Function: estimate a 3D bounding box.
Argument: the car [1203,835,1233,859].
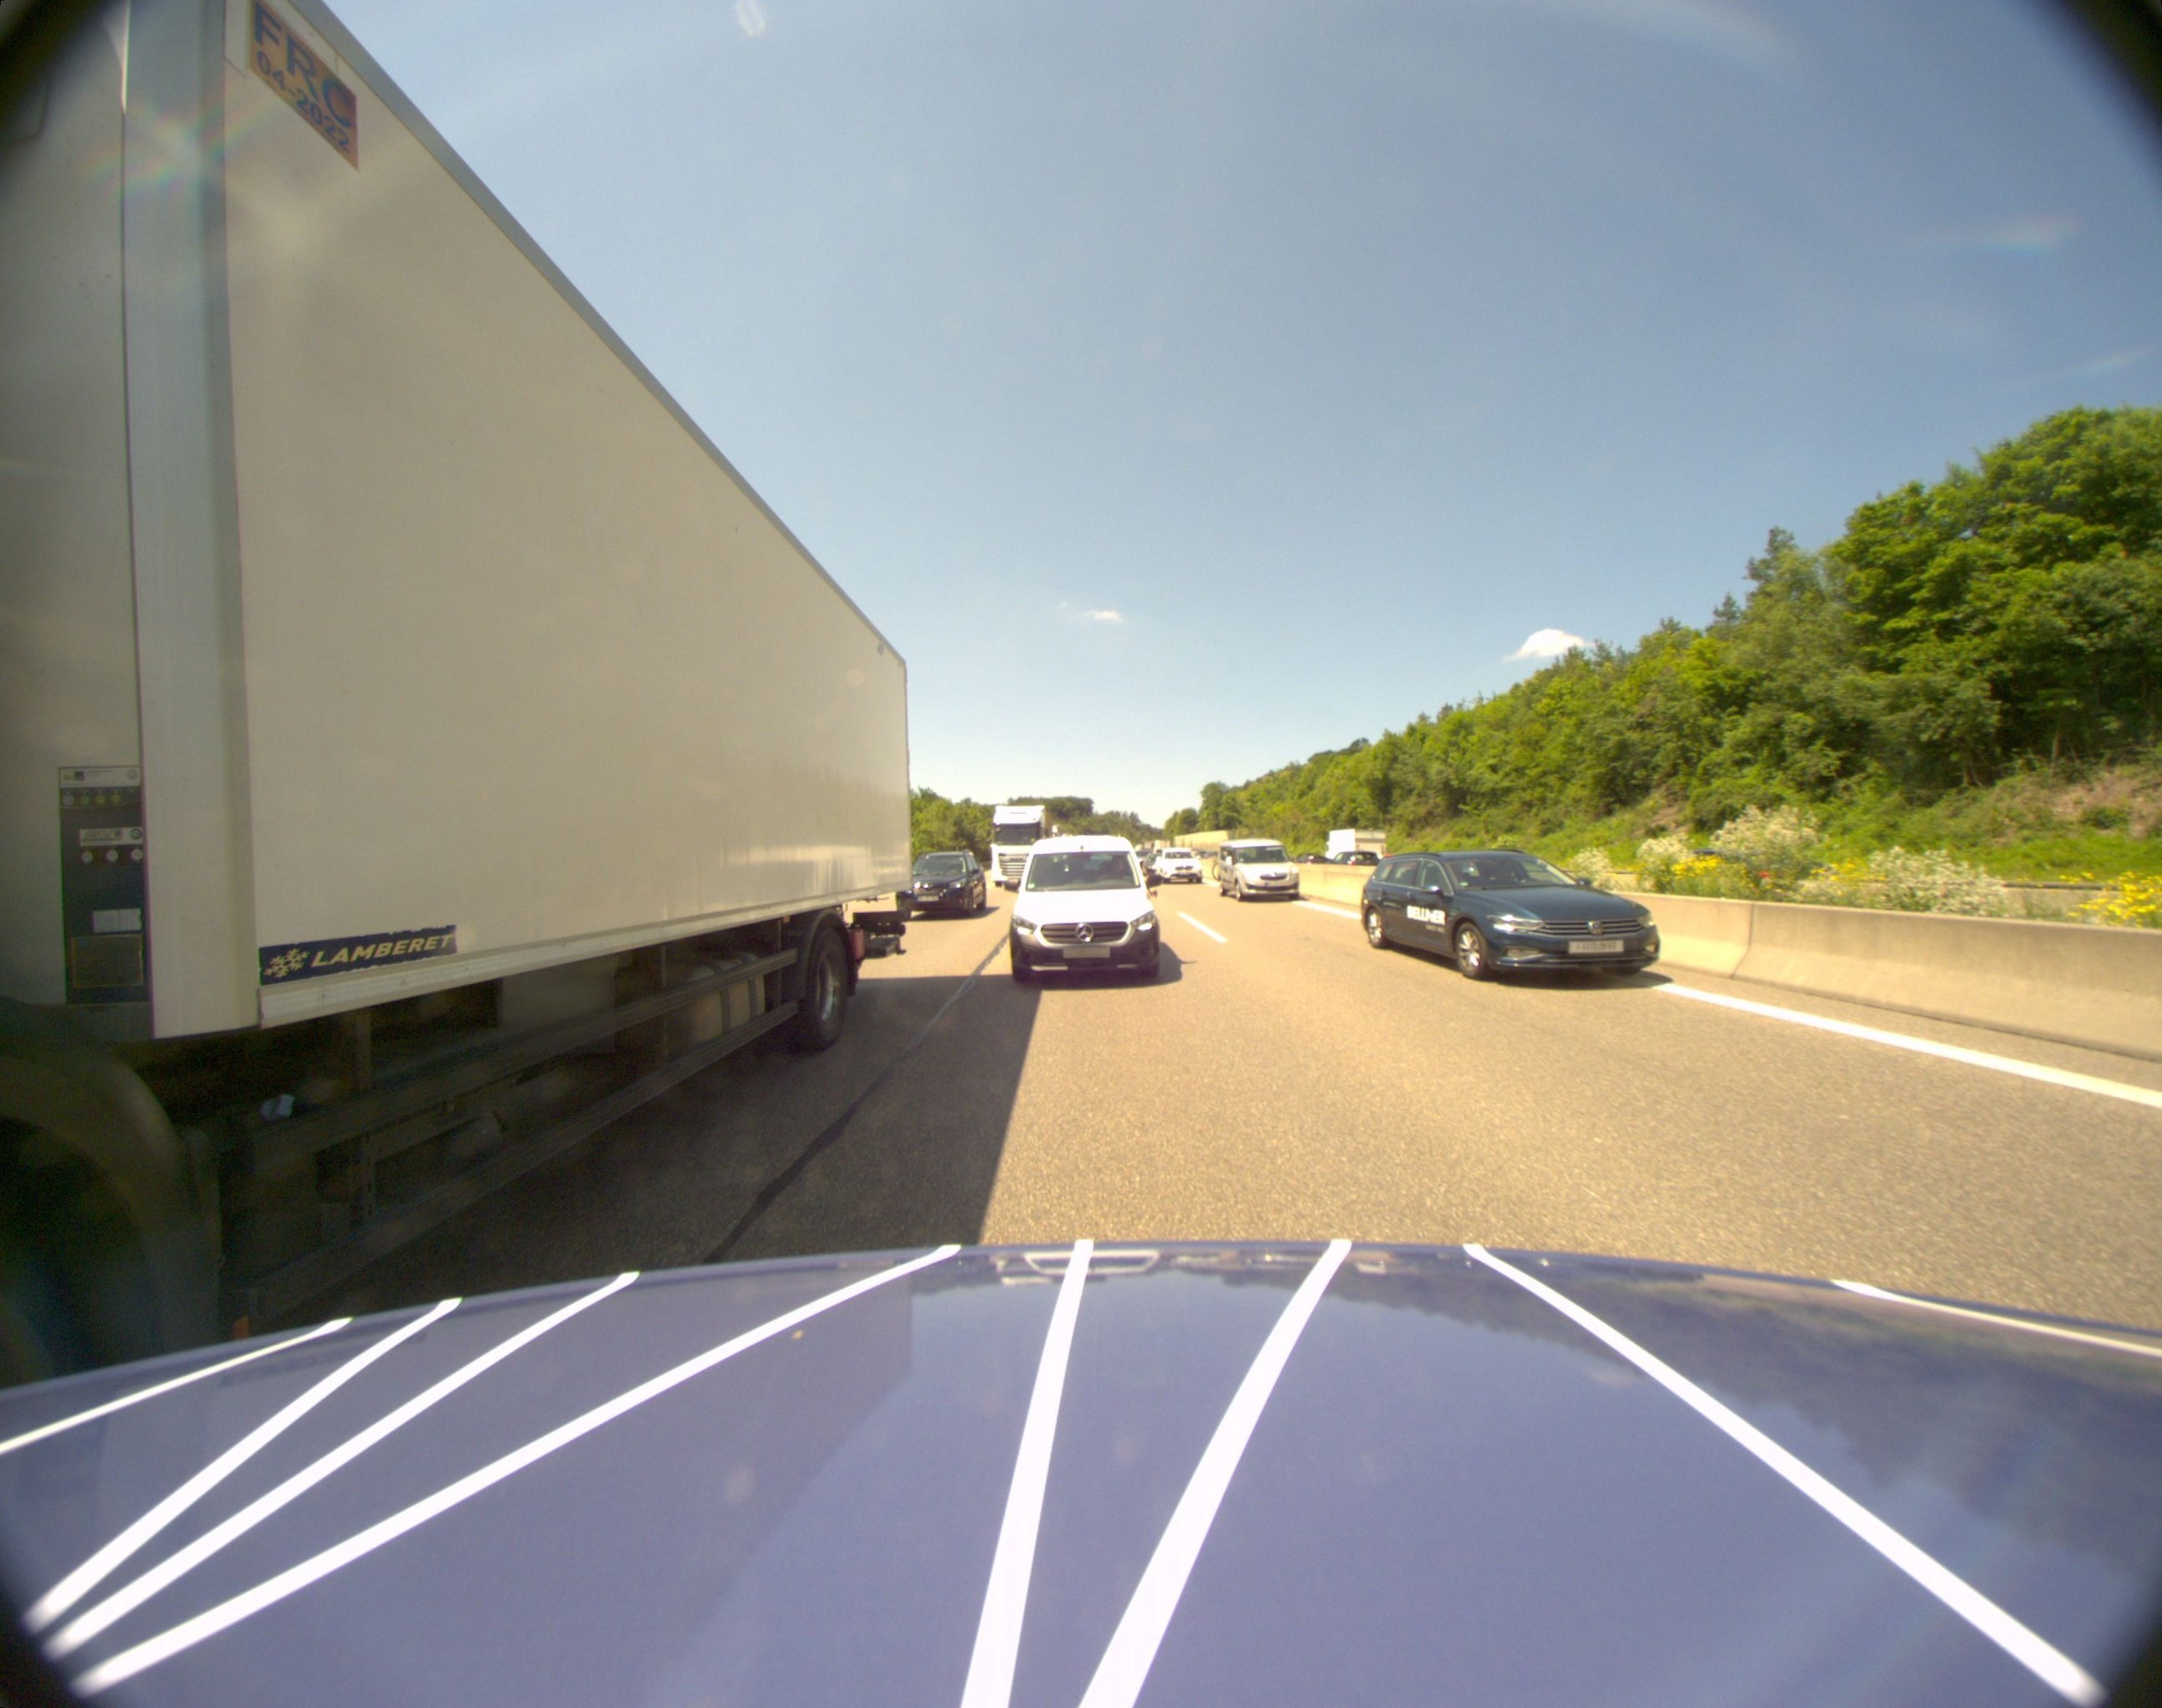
[{"bbox_3d":[12.143,-0.625,67.554,1.998,2.002,3.999,-2,1,1],"label":"car"}]

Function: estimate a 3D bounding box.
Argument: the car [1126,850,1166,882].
[{"bbox_3d":[3.897,0.666,46.281,1.999,1.747,3.999,-2,1,0],"label":"car"}]

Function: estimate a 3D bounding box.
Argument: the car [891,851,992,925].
[{"bbox_3d":[-3.610,0.816,20.546,1.999,1.682,4.609,0,1,-2],"label":"car"}]

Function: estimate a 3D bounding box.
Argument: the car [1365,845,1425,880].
[{"bbox_3d":[19.609,0.497,47.636,1.999,2.002,3.999,-2,1,0],"label":"car"}]

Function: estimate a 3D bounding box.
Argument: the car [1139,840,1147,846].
[{"bbox_3d":[21.069,-3.677,256.876,2.119,2.002,4.476,-2,1,-2],"label":"car"}]

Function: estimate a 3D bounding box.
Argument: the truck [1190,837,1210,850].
[{"bbox_3d":[20.418,-1.850,130.937,2.357,2.002,6.490,-2,1,-1],"label":"truck"}]

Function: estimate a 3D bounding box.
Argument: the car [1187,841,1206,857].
[{"bbox_3d":[15.621,-0.695,102.745,1.998,2.002,4.418,-2,1,1],"label":"car"}]

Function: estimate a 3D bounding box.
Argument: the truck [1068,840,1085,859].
[{"bbox_3d":[-1.092,-1.105,195.681,4.084,4.403,11.396,-2,0,-1],"label":"truck"}]

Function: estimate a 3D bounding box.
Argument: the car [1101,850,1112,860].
[{"bbox_3d":[4.467,0.135,134.104,1.803,1.660,4.000,-2,0,-1],"label":"car"}]

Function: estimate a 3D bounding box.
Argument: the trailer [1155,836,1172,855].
[{"bbox_3d":[20.769,-2.151,191.090,2.956,4.456,10.814,-2,1,0],"label":"trailer"}]

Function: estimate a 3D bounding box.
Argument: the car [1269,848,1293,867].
[{"bbox_3d":[23.591,0.400,89.625,1.856,2.002,3.512,-2,1,1],"label":"car"}]

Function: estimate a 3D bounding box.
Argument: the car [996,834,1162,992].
[{"bbox_3d":[0.014,0.599,10.493,1.756,1.681,4.363,-2,1,1],"label":"car"}]

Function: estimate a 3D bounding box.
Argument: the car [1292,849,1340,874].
[{"bbox_3d":[15.842,0.469,51.421,1.998,1.511,3.999,-2,1,1],"label":"car"}]

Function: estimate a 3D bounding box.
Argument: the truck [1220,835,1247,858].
[{"bbox_3d":[20.338,-1.029,101.818,2.183,2.868,6.740,-2,1,0],"label":"truck"}]

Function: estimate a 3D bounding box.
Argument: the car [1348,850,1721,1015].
[{"bbox_3d":[5.077,0.731,9.465,1.879,1.442,4.677,-2,1,1],"label":"car"}]

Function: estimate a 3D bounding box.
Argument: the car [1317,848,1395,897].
[{"bbox_3d":[11.783,0.753,32.851,1.911,1.871,3.999,-2,1,0],"label":"car"}]

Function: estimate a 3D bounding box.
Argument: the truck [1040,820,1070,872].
[{"bbox_3d":[-2.374,-0.697,71.560,2.394,4.438,10.868,-2,0,0],"label":"truck"}]

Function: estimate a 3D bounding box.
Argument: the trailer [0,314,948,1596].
[{"bbox_3d":[-3.136,0.254,5.678,2.562,2.882,7.882,-2,1,2],"label":"trailer"}]

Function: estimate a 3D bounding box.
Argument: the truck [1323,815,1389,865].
[{"bbox_3d":[23.241,-1.213,64.714,2.699,3.967,7.988,-2,1,1],"label":"truck"}]

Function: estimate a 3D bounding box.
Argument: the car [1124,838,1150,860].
[{"bbox_3d":[5.393,-0.551,73.392,1.999,2.002,3.998,-2,1,-2],"label":"car"}]

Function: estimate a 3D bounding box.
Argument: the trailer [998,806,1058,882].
[{"bbox_3d":[-3.004,-0.678,46.589,2.766,4.061,11.614,0,1,0],"label":"trailer"}]

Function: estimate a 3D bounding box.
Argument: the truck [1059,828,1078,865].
[{"bbox_3d":[-1.544,-0.893,99.267,2.187,4.438,10.868,-2,0,0],"label":"truck"}]

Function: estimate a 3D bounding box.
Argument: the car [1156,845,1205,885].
[{"bbox_3d":[4.702,0.472,36.385,1.824,1.696,3.999,-2,1,0],"label":"car"}]

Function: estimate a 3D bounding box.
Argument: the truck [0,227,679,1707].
[{"bbox_3d":[-3.253,0.321,1.506,2.562,2.924,4.103,-1,2,2],"label":"truck"}]

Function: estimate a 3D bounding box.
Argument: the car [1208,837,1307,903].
[{"bbox_3d":[5.308,0.400,23.506,1.857,1.762,4.916,-2,1,0],"label":"car"}]

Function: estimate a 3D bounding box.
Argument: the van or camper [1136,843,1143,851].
[{"bbox_3d":[20.013,-2.437,260.991,1.998,2.371,4.808,4,2,3],"label":"van or camper"}]

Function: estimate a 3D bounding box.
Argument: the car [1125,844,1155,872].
[{"bbox_3d":[4.359,0.314,56.801,1.998,2.001,4.001,-1,-1,1],"label":"car"}]

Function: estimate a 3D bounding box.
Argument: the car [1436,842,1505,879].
[{"bbox_3d":[22.954,0.355,44.981,1.999,2.002,3.999,-2,1,0],"label":"car"}]

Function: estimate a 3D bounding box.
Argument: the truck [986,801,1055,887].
[{"bbox_3d":[-3.029,-0.555,40.190,2.766,4.061,7.332,-2,1,1],"label":"truck"}]

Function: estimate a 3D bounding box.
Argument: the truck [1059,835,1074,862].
[{"bbox_3d":[-2.260,-0.835,121.040,2.187,4.073,10.868,-2,0,0],"label":"truck"}]

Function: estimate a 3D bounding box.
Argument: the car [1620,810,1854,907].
[{"bbox_3d":[15.337,0.049,18.104,1.999,2.002,3.998,-2,1,-3],"label":"car"}]

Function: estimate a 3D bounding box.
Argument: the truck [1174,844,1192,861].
[{"bbox_3d":[12.387,-0.174,92.678,1.704,1.936,4.000,-1,0,1],"label":"truck"}]

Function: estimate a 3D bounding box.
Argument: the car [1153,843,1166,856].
[{"bbox_3d":[12.758,-0.722,123.918,1.998,2.002,4.958,-2,1,5],"label":"car"}]
